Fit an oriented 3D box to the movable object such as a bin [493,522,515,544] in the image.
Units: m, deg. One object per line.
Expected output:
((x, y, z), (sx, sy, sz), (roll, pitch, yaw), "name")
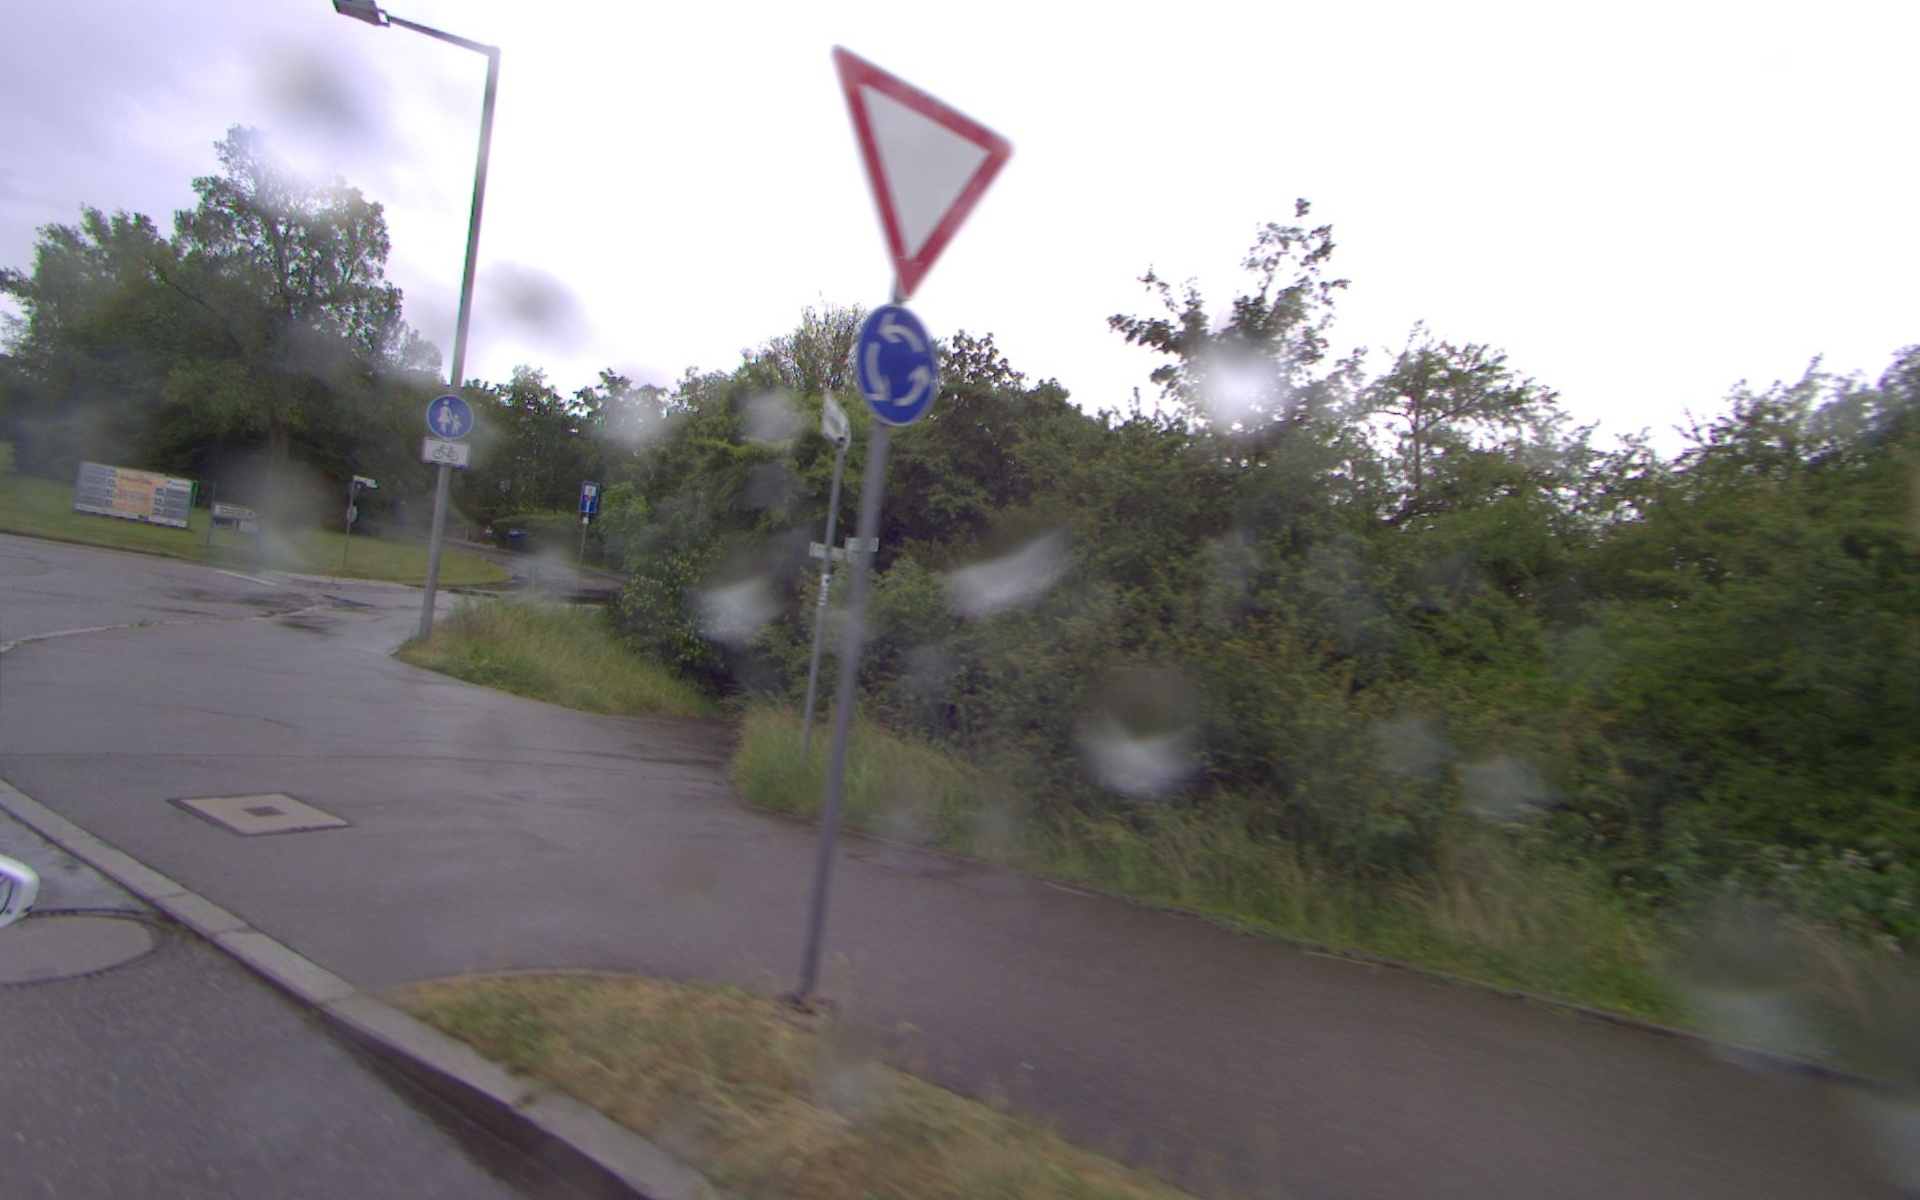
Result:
((-35.881, -5.271, 79.207), (1.187, 1.454, 1.414), (8, 1, -35), "movable object such as a bin")
